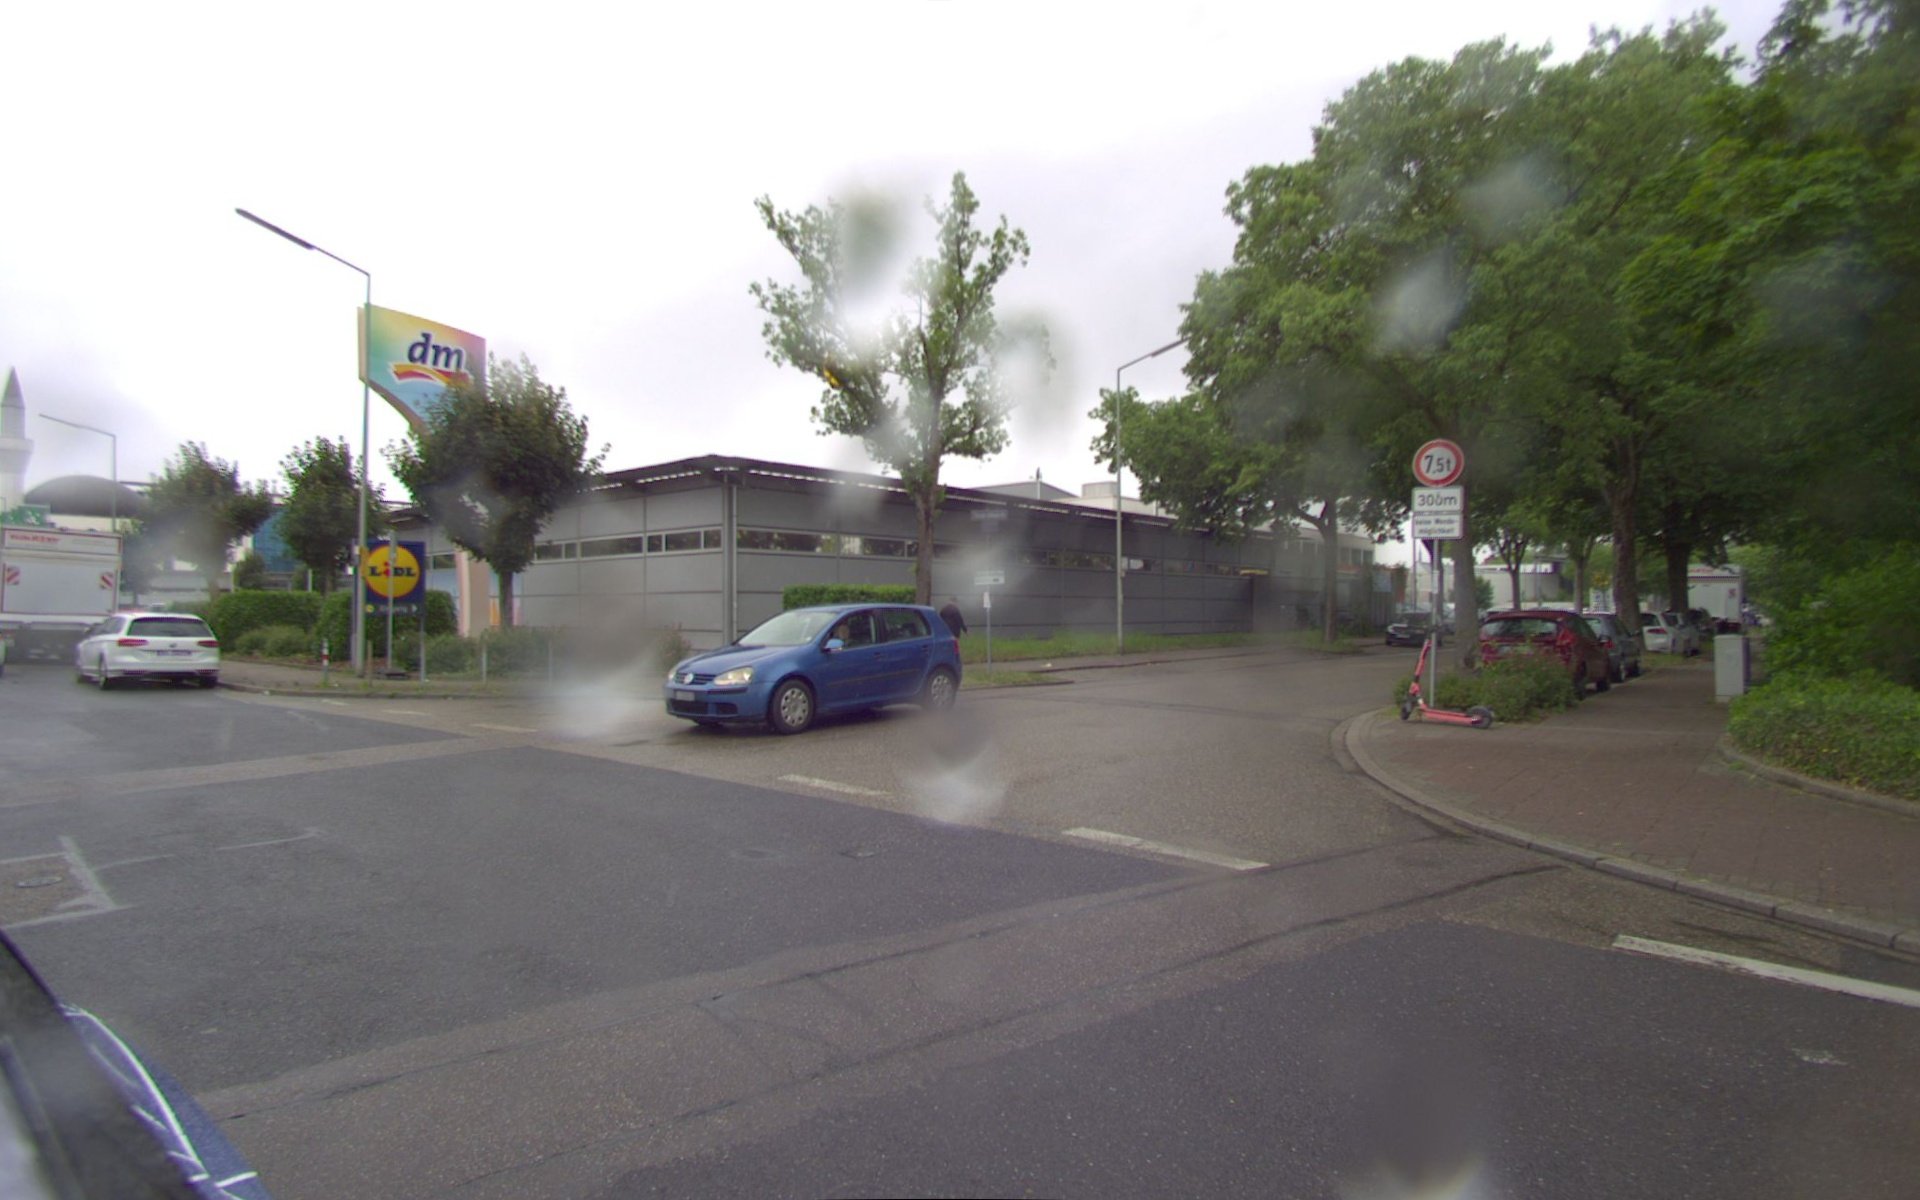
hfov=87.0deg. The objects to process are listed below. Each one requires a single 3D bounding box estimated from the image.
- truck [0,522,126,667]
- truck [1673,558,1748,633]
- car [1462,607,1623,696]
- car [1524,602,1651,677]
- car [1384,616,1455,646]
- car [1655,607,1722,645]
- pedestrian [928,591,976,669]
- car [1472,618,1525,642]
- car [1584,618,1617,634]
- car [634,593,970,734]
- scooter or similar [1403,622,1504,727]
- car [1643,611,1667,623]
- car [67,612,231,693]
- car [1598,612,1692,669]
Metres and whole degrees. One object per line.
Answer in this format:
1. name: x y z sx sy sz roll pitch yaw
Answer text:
1. truck: -27.131 -0.096 29.822 7.866 3.774 2.851 -1 -1 42
2. truck: 37.539 -0.170 50.521 2.601 3.496 6.723 -1 -1 40
3. car: 10.250 0.843 17.690 1.735 1.374 3.945 -1 -2 41
4. car: 13.574 0.823 21.799 1.735 1.452 3.945 -1 -2 41
5. car: 19.471 1.278 42.809 1.570 1.212 3.943 -1 -1 43
6. car: 28.237 1.011 39.174 1.735 1.393 4.041 -1 -2 41
7. pedestrian: -0.175 0.664 22.494 0.758 1.686 0.772 -1 -1 39
8. car: 28.803 1.605 54.126 1.570 1.212 3.943 -1 -1 43
9. car: 51.275 2.081 81.034 1.570 1.212 3.943 -1 -1 43
10. car: -1.803 0.707 12.531 1.735 1.452 3.945 -1 -2 41
11. scooter or similar: 5.877 0.861 12.083 0.280 1.184 1.061 1 -1 -41
12. car: 74.254 1.805 108.140 1.570 1.212 3.943 -1 -1 43
13. car: -16.326 0.987 20.295 4.490 1.445 1.816 -1 -2 42
14. car: 19.125 1.103 28.188 1.735 1.452 3.945 -1 -2 41
